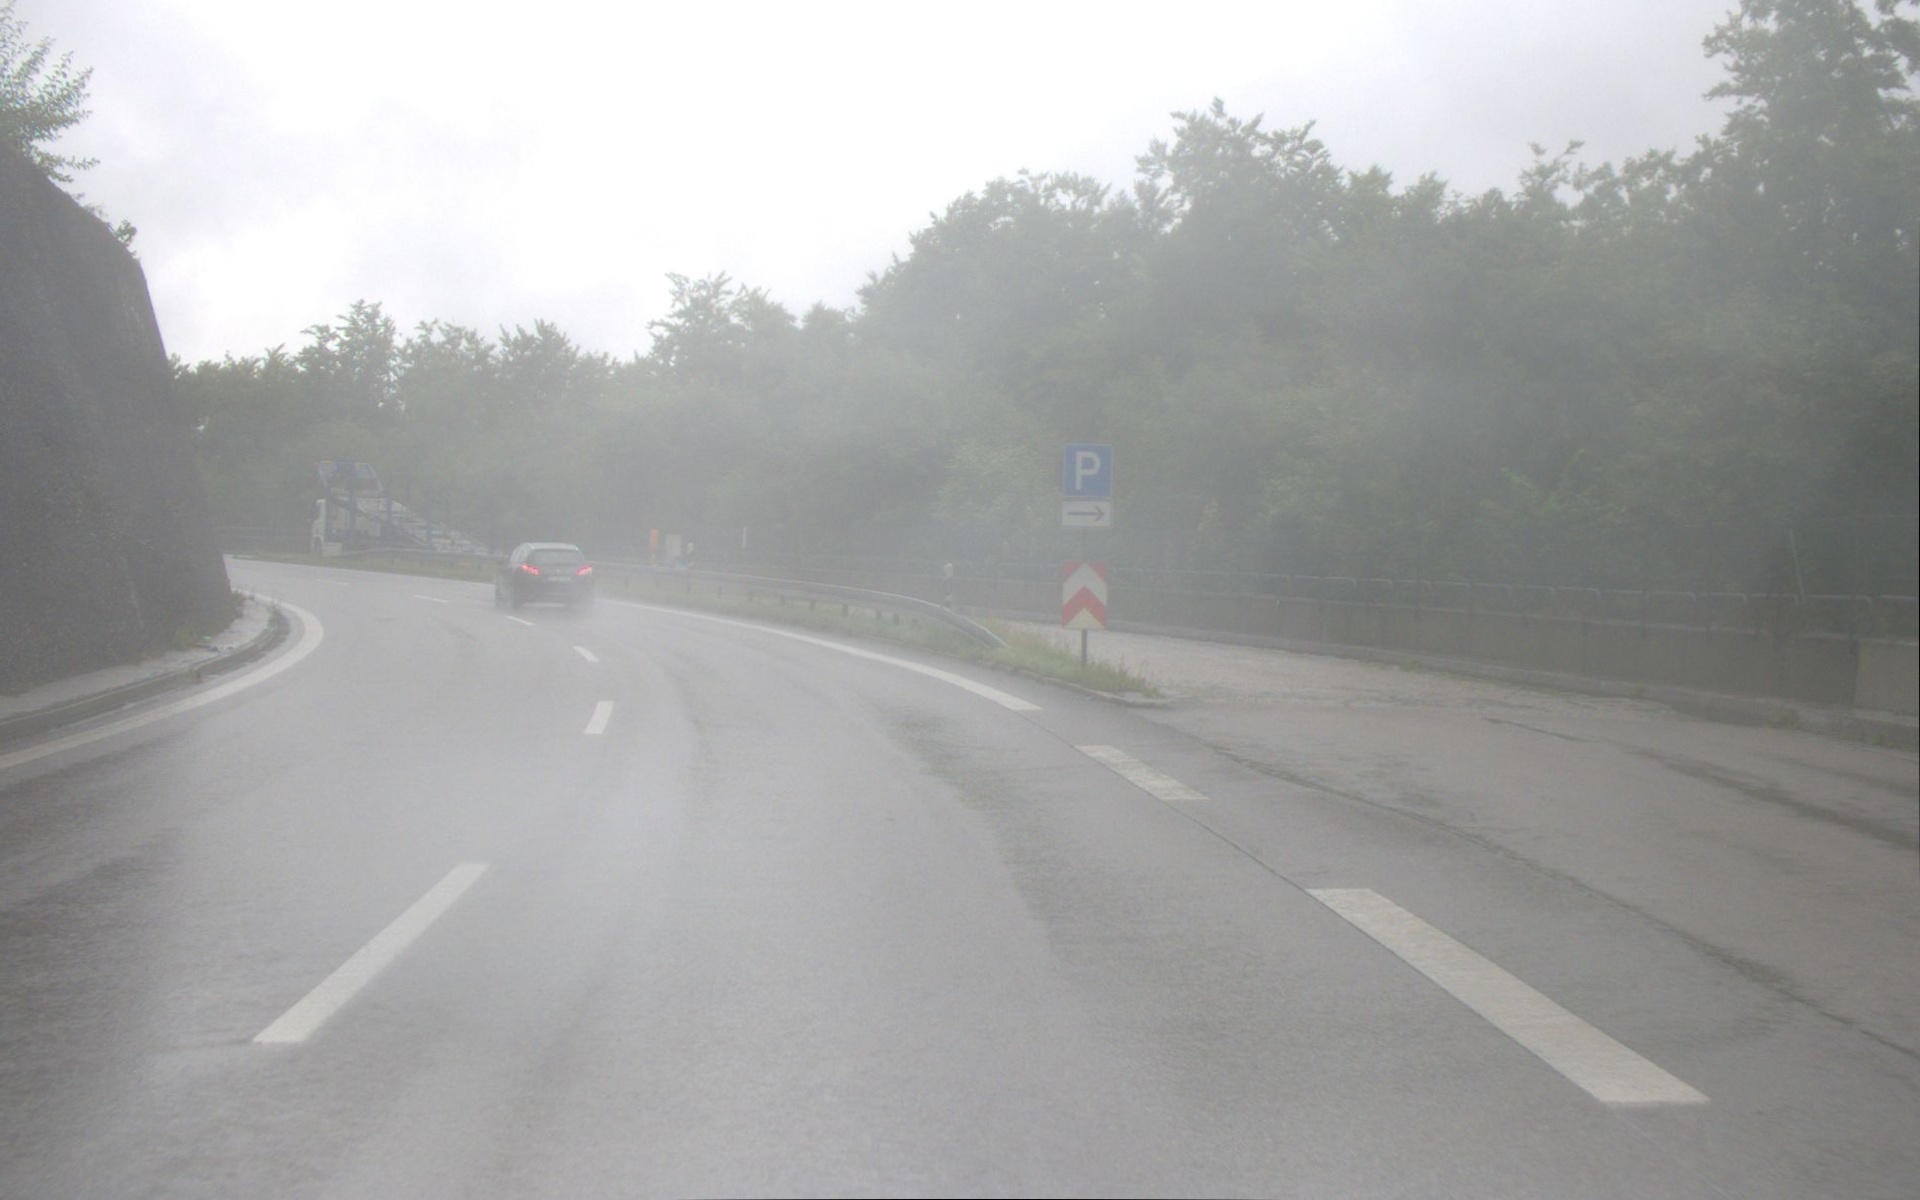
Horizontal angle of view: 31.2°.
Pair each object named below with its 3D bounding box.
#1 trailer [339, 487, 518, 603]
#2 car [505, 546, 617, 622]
[{"bbox_3d":[-21.005,-2.220,134.891,2.891,4.230,14.701,1,1,-25],"label":"trailer"},{"bbox_3d":[-8.871,-0.374,76.156,1.903,1.494,4.001,3,0,-14],"label":"car"}]
